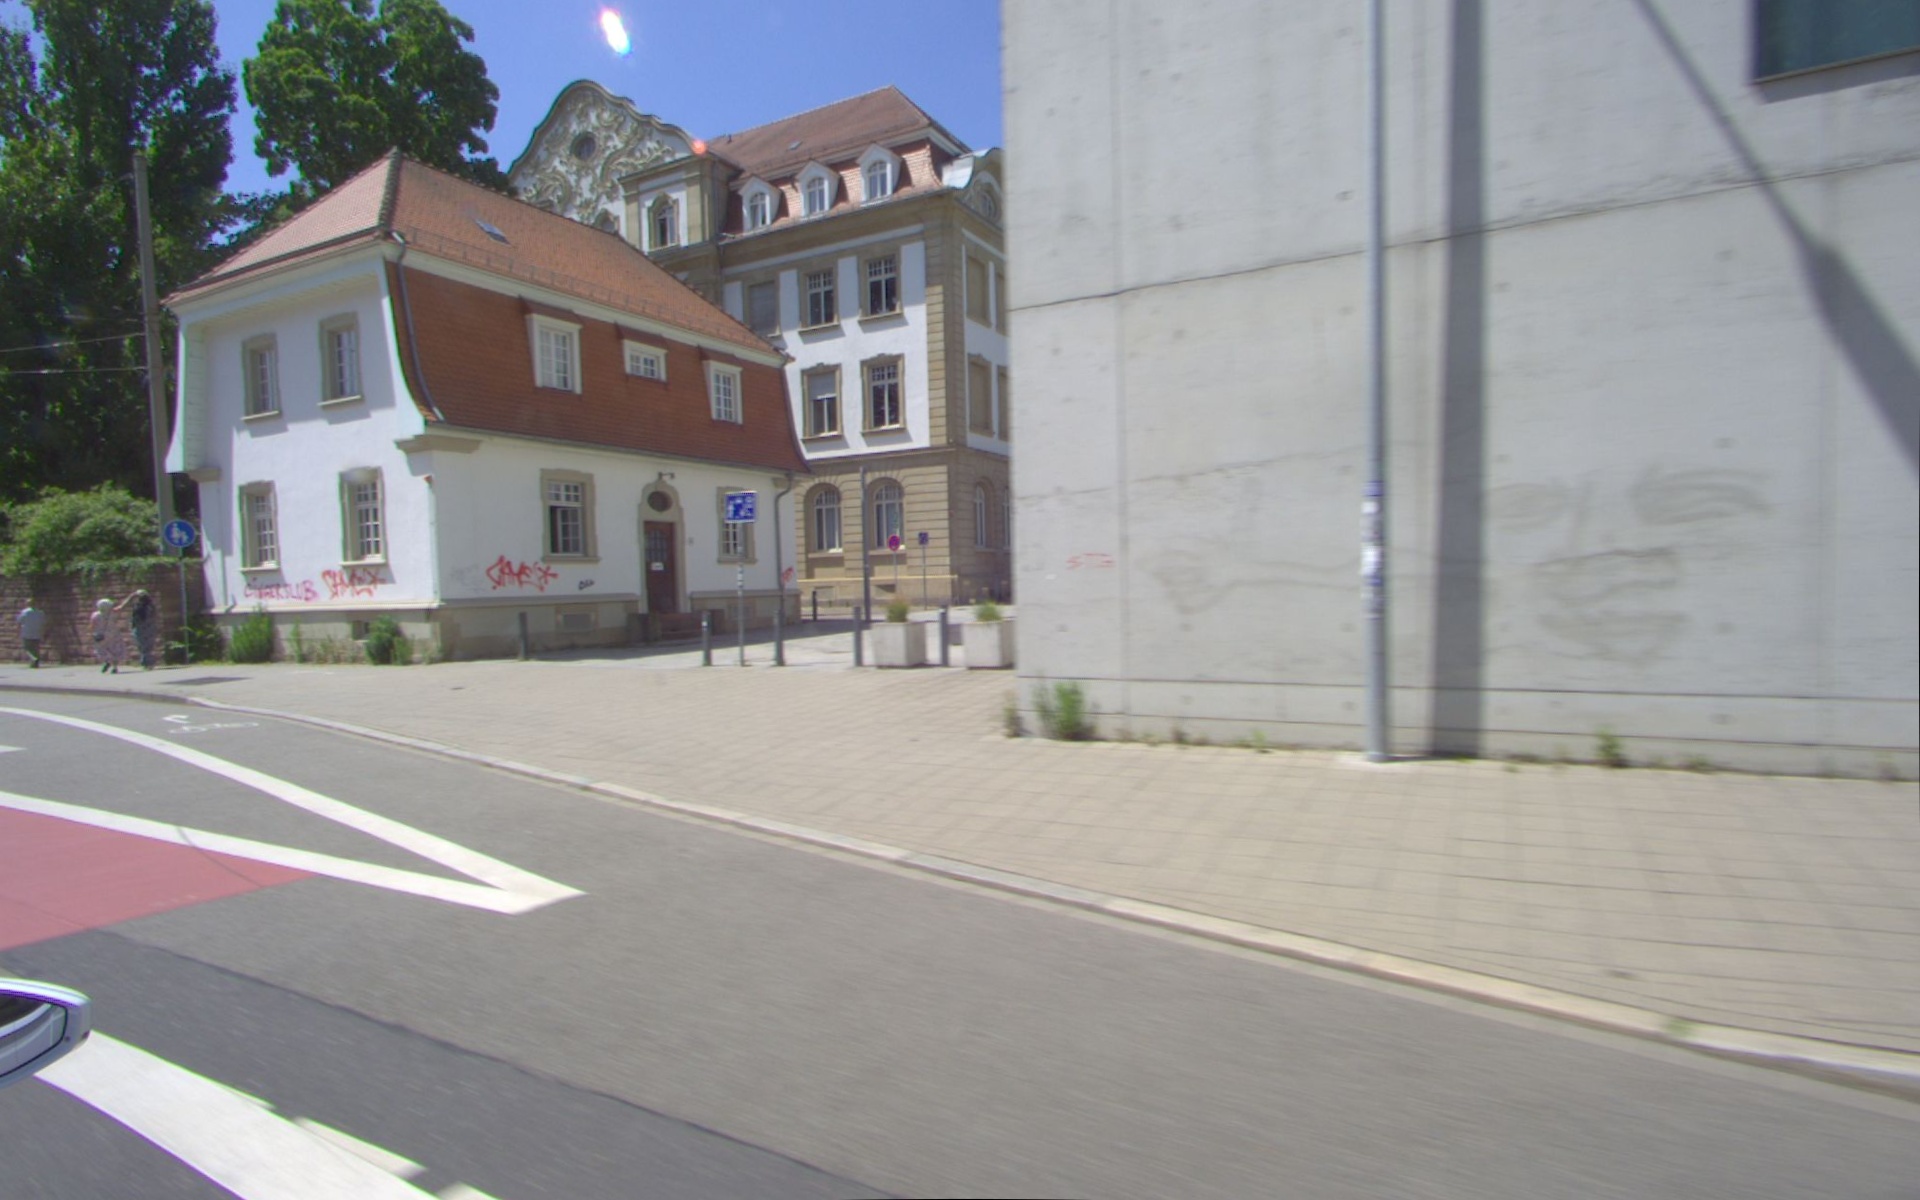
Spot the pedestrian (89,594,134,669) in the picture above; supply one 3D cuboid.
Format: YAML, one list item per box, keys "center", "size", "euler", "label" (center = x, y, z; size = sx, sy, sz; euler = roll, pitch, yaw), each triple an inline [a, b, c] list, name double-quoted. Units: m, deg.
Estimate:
- center: [-18.059, 0.655, 21.311]
  size: [0.589, 1.554, 0.514]
  euler: [0, 3, 34]
  label: "pedestrian"

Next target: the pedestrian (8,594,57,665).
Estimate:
- center: [-22.387, 0.699, 24.172]
  size: [0.616, 1.670, 0.658]
  euler: [0, 3, 33]
  label: "pedestrian"

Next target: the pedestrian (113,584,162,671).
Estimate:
- center: [-17.743, 0.601, 21.614]
  size: [0.619, 1.792, 0.717]
  euler: [0, -7, -27]
  label: "pedestrian"
